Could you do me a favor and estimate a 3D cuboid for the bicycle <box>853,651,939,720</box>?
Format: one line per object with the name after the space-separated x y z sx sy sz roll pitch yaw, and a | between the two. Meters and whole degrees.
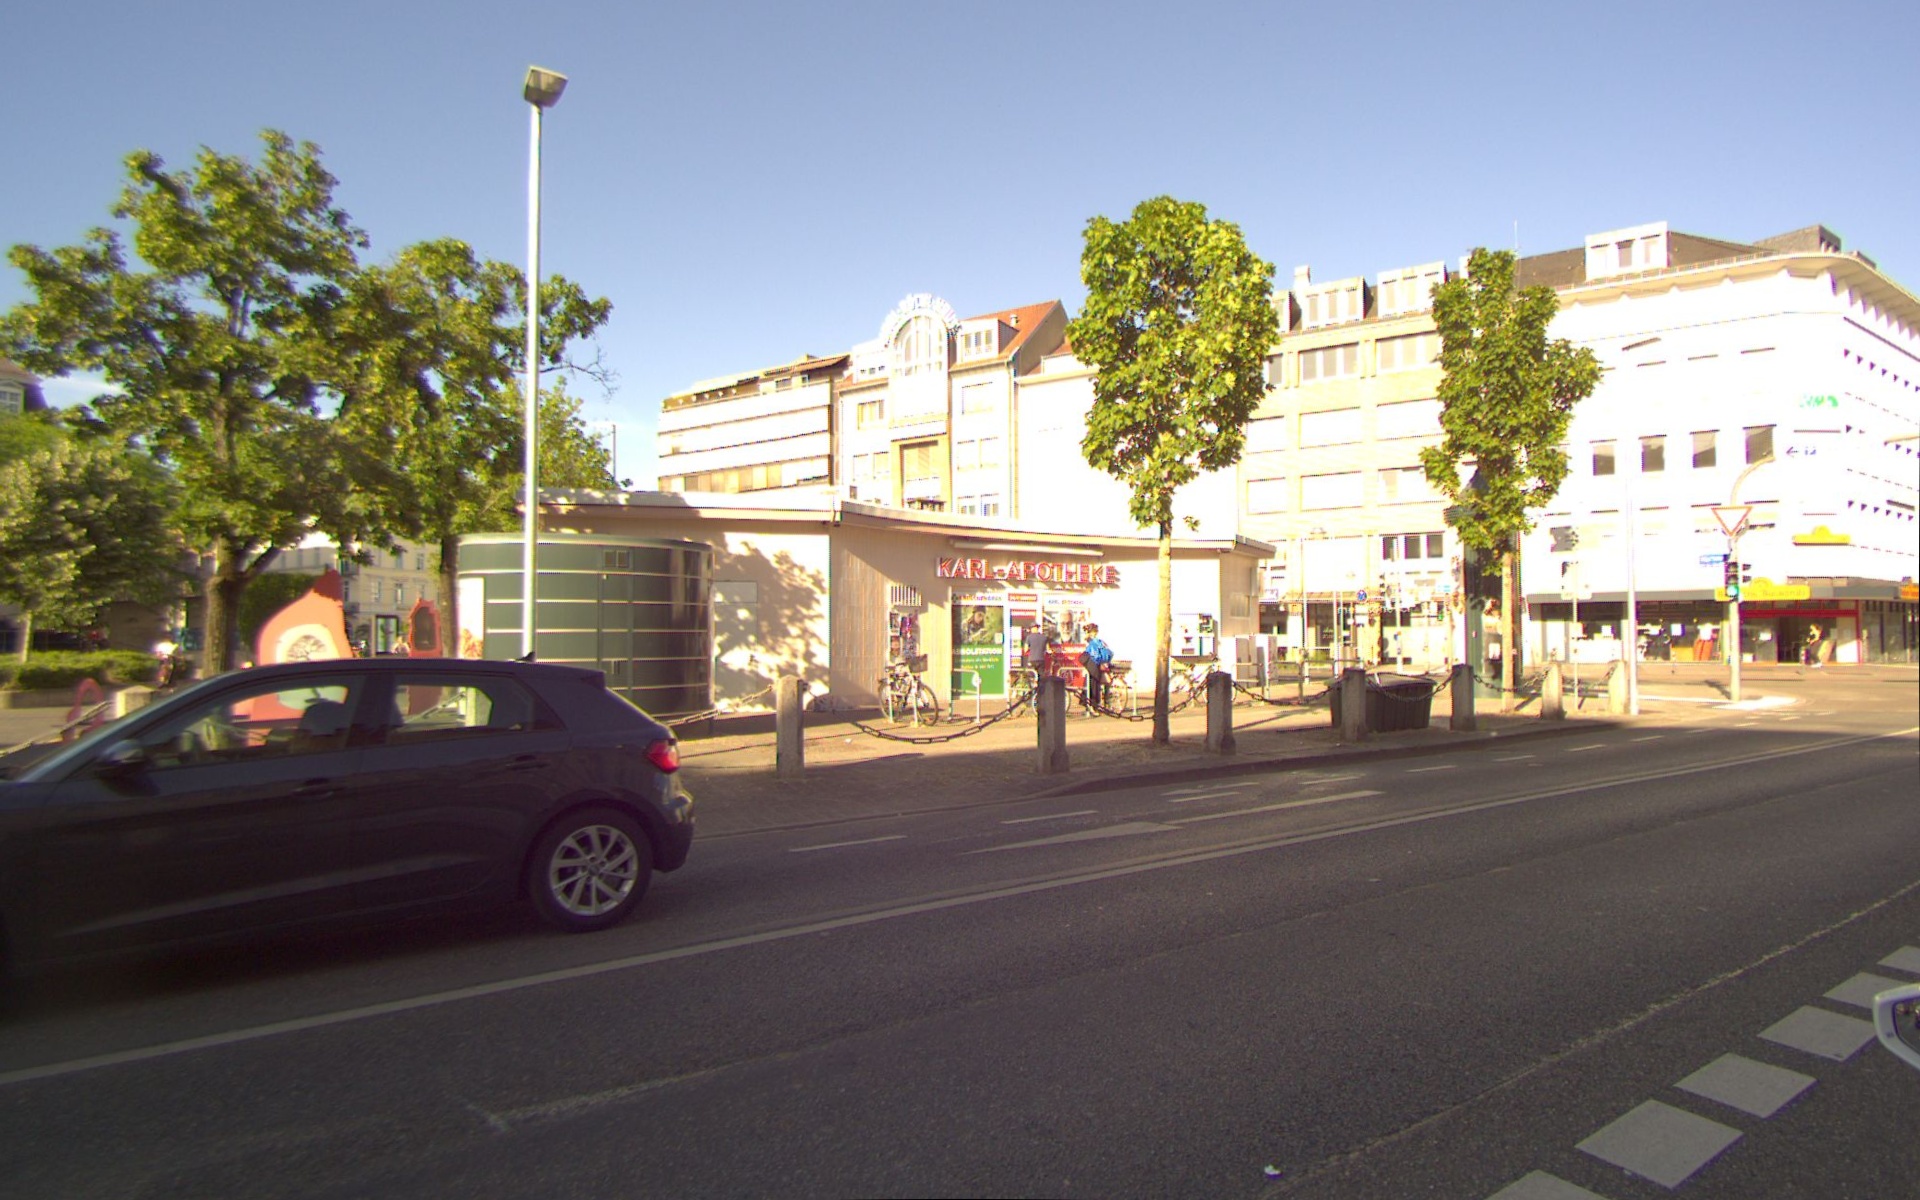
-1.068 1.354 16.315 0.755 1.015 1.879 1 -2 -25 | bicycle

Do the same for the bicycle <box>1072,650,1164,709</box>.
2.956 1.469 19.021 0.874 1.015 2.011 0 -2 -19 | bicycle

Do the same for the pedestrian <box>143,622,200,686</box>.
-20.552 1.394 26.193 0.860 1.616 1.071 0 -1 -21 | pedestrian

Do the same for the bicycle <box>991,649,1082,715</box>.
1.291 1.386 17.353 0.755 1.015 1.879 1 -2 -25 | bicycle

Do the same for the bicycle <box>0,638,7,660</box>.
-38.665 1.941 39.450 0.516 0.882 1.708 -1 -2 33 | bicycle

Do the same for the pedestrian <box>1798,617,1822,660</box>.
34.241 1.549 40.480 0.705 1.731 0.554 1 -3 -37 | pedestrian

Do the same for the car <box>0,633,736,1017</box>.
-3.311 0.917 4.936 4.002 1.415 1.640 1 -5 -35 | car

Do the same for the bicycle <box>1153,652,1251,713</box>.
4.848 1.632 20.272 0.745 1.102 1.978 1 -2 -32 | bicycle

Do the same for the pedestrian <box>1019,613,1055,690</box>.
1.771 1.177 23.136 0.605 1.731 0.516 1 -3 -34 | pedestrian

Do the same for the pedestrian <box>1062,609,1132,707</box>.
2.502 1.046 18.462 0.889 1.720 1.081 0 -1 -20 | pedestrian

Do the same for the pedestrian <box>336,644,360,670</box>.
-34.990 3.266 57.444 0.766 1.484 0.944 -2 -2 33 | pedestrian
